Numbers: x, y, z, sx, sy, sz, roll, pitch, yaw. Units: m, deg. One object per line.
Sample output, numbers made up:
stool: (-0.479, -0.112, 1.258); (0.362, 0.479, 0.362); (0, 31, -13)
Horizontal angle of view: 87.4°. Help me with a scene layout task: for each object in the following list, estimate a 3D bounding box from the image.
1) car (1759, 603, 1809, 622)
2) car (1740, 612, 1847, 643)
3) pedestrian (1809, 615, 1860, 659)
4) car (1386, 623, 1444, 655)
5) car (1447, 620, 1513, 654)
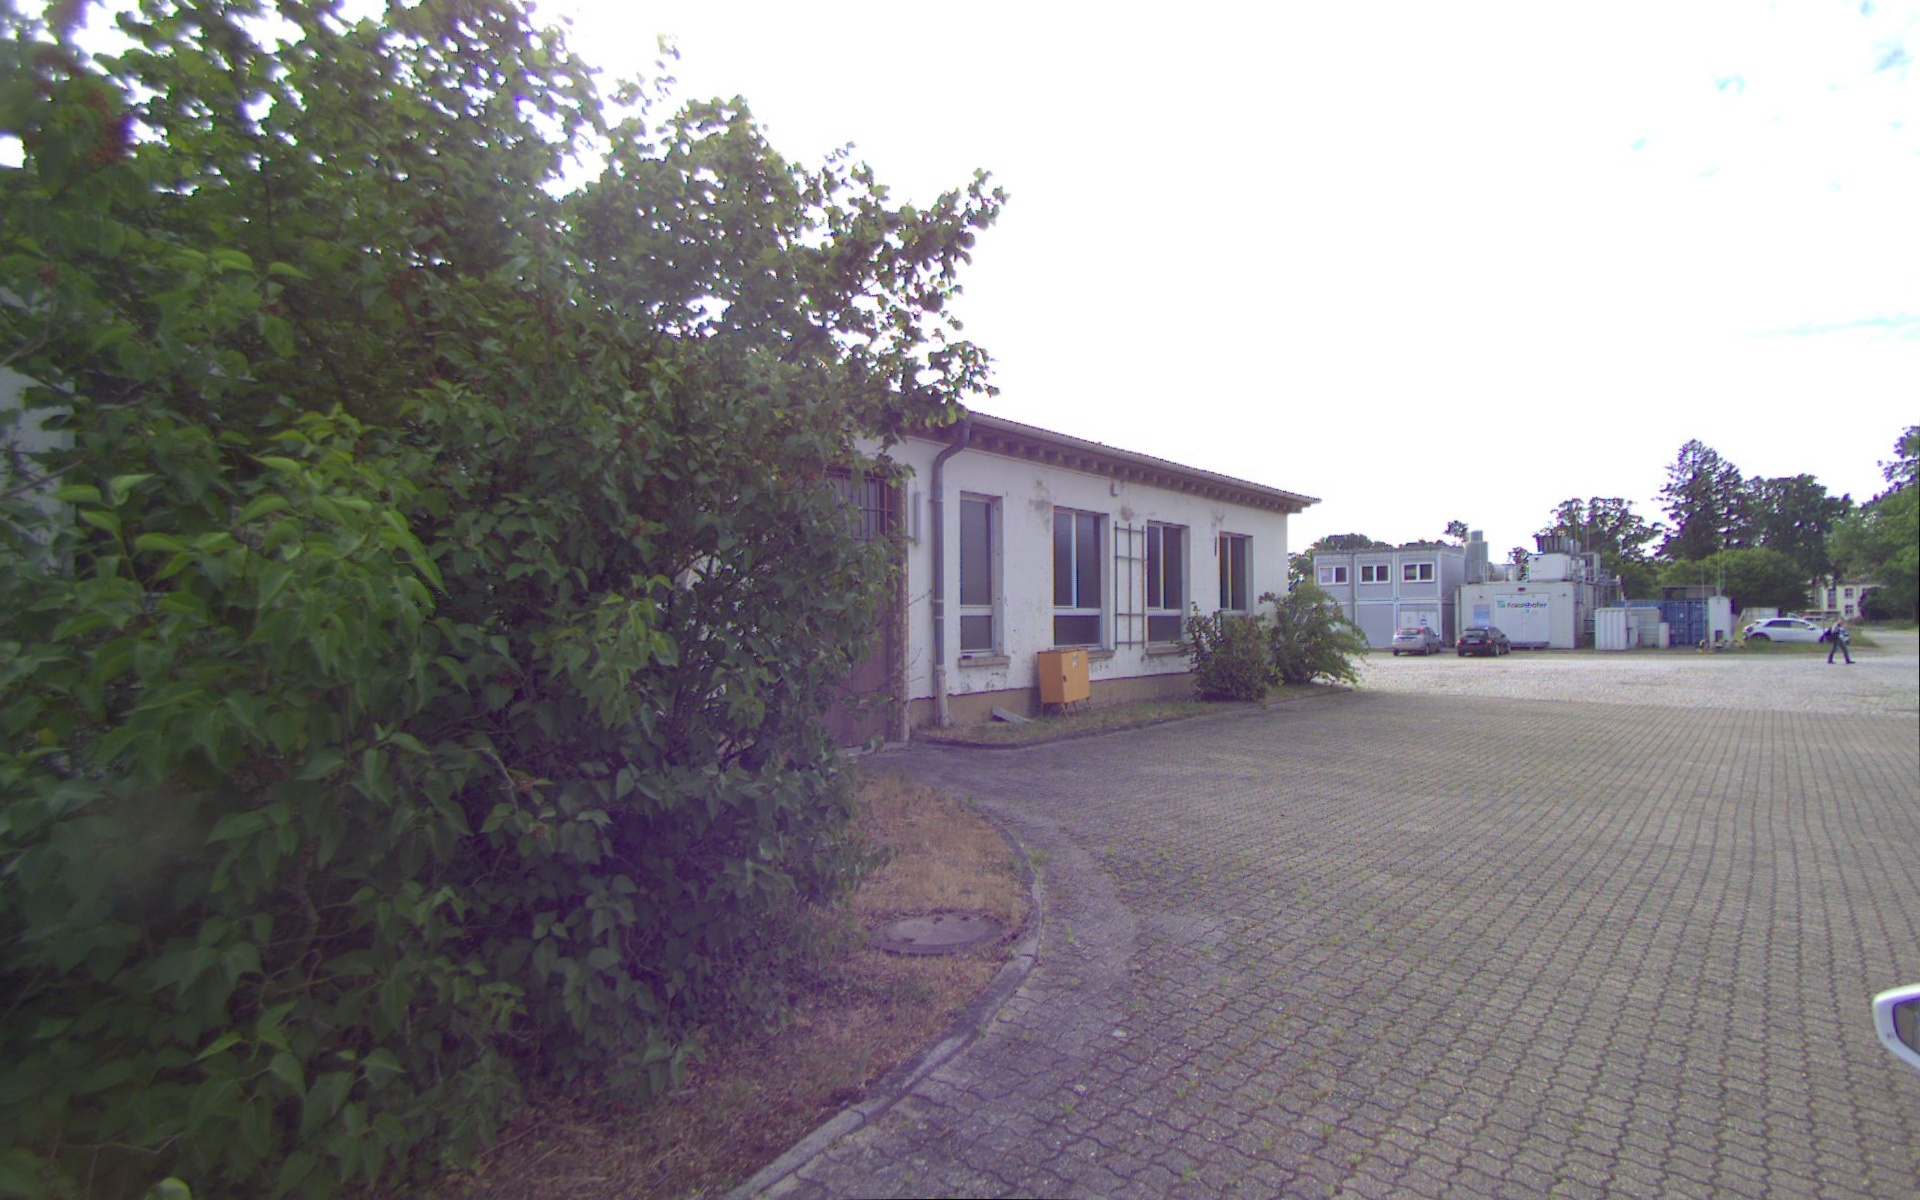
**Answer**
car: (110.076, 1.712, 134.279); (5.110, 2.368, 1.991); (-2, -2, 40)
car: (46.277, 1.550, 55.817); (4.485, 1.620, 1.989); (-3, -2, 43)
pedestrian: (32.567, 1.366, 37.407); (1.061, 1.577, 1.072); (0, -2, -26)
car: (23.853, 2.030, 52.568); (1.883, 1.495, 4.030); (-2, -1, 37)
car: (26.151, 1.854, 50.423); (2.012, 1.472, 4.508); (-2, 0, 39)
